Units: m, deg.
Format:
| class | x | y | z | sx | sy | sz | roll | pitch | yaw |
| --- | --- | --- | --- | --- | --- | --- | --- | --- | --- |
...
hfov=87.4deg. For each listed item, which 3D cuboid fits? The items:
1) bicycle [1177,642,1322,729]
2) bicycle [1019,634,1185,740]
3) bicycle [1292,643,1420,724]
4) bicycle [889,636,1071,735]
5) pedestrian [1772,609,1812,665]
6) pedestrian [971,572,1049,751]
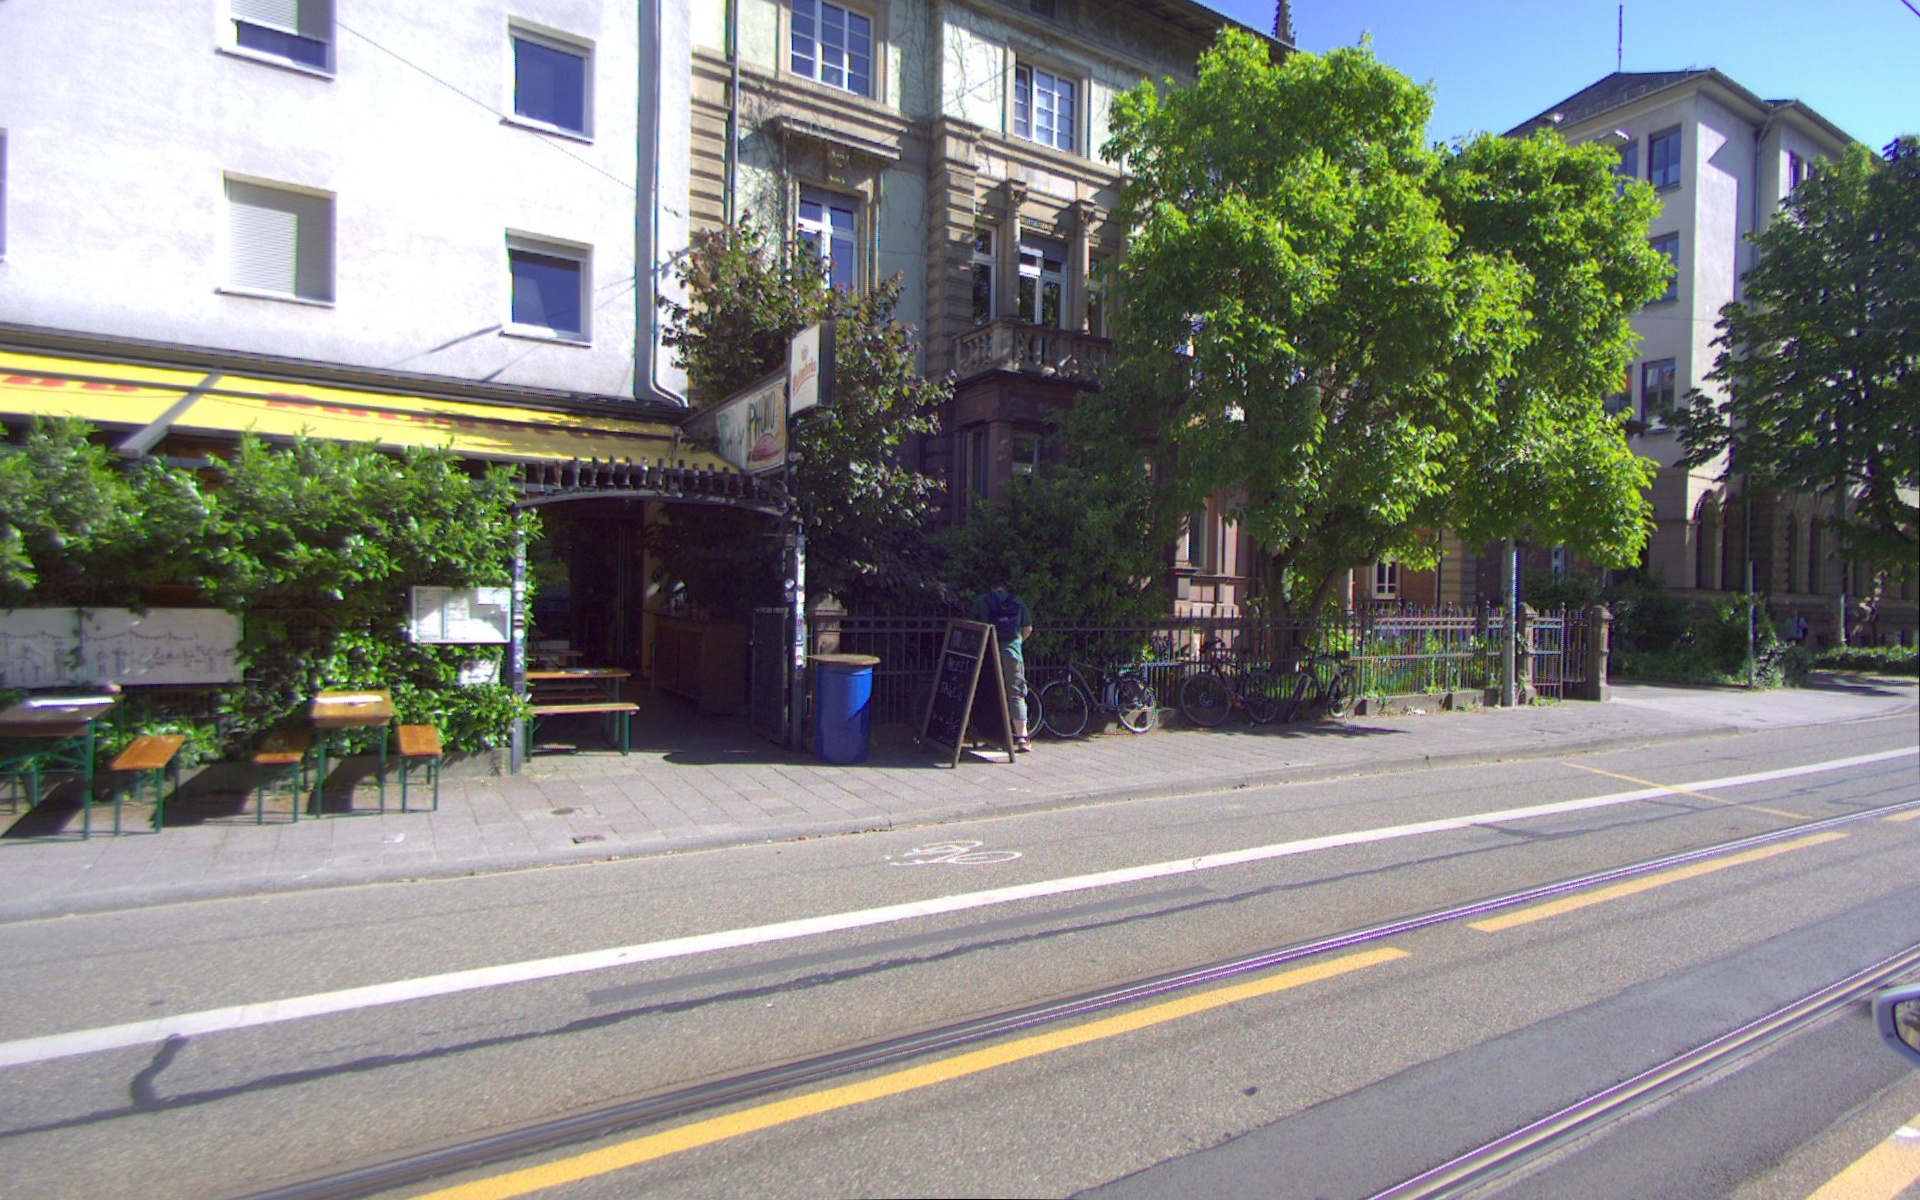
| class | x | y | z | sx | sy | sz | roll | pitch | yaw |
| --- | --- | --- | --- | --- | --- | --- | --- | --- | --- |
| bicycle | 3.842 | 1.112 | 13.302 | 1.878 | 1.059 | 0.588 | 1 | 1 | -24 |
| bicycle | 1.710 | 1.017 | 12.075 | 1.878 | 1.159 | 0.644 | 1 | 2 | -24 |
| bicycle | 5.658 | 1.159 | 14.325 | 1.881 | 1.059 | 0.587 | 1 | 1 | -28 |
| bicycle | 0.228 | 0.974 | 11.587 | 1.988 | 1.059 | 0.637 | 1 | 0 | -15 |
| pedestrian | 28.039 | 1.235 | 33.859 | 0.771 | 1.821 | 0.726 | 1 | 2 | -30 |
| pedestrian | 0.524 | 0.643 | 10.741 | 0.677 | 1.856 | 0.576 | 1 | 0 | -12 |
